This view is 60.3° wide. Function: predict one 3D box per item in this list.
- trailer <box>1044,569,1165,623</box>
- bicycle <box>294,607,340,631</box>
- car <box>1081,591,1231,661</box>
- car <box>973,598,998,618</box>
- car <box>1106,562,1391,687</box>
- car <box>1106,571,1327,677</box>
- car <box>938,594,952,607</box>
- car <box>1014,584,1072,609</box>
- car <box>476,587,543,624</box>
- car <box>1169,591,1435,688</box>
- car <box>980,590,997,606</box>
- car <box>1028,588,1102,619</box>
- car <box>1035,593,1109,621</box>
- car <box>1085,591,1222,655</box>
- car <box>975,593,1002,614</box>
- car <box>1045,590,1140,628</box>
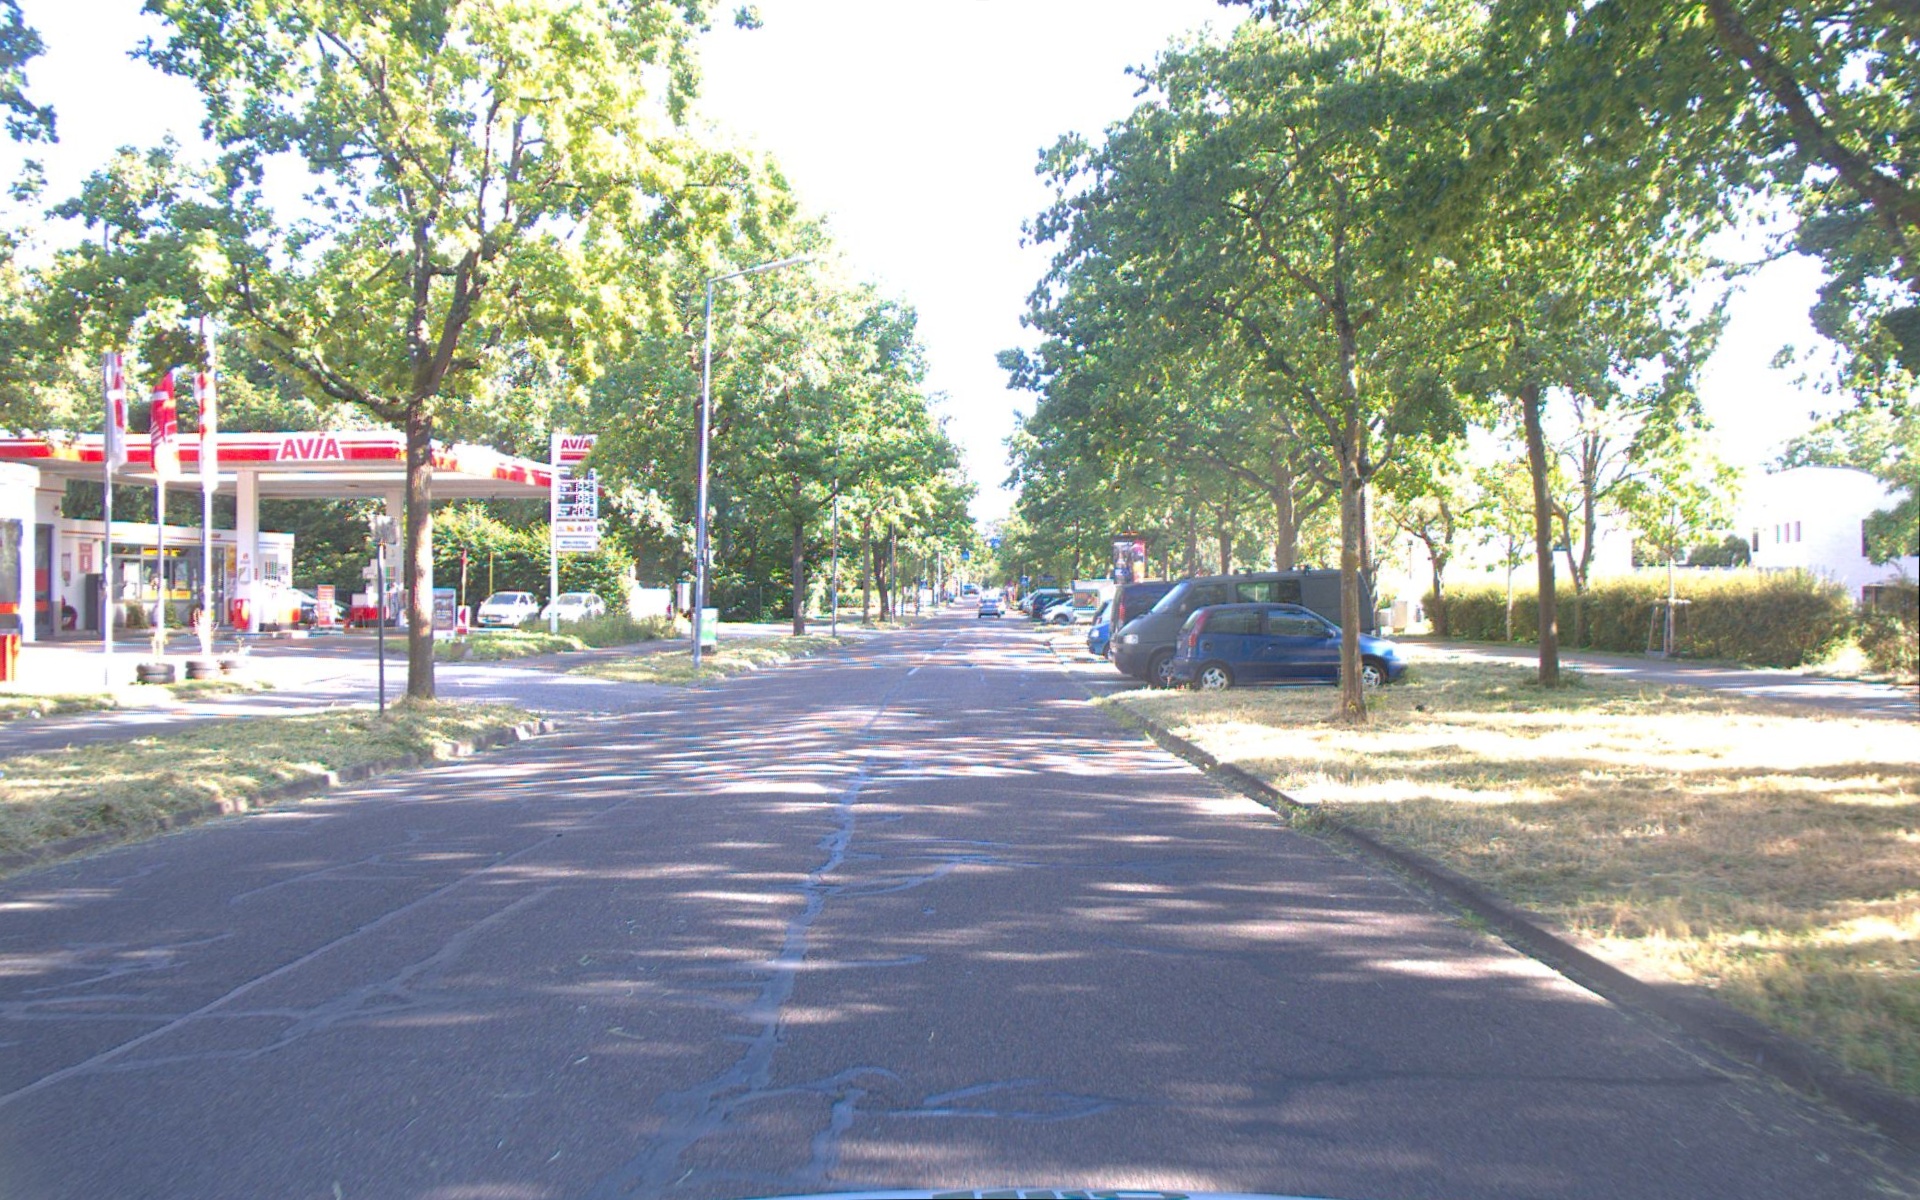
[{"bbox_3d":[6.883,-0.189,79.075,5.654,2.358,1.687,-2,0,3],"label":"trailer"},{"bbox_3d":[-23.388,0.682,60.173,0.604,0.821,1.781,0,0,16],"label":"bicycle"},{"bbox_3d":[4.674,0.617,39.829,3.447,1.559,1.665,-2,0,3],"label":"car"},{"bbox_3d":[2.178,0.681,141.566,1.953,1.684,3.998,0,0,-2],"label":"car"},{"bbox_3d":[5.025,0.416,29.308,4.704,2.067,1.944,-1,0,0],"label":"car"},{"bbox_3d":[4.882,0.445,31.857,3.928,1.869,1.799,-2,0,-2],"label":"car"},{"bbox_3d":[-2.089,0.016,231.899,1.952,1.746,4.000,1,0,1],"label":"car"},{"bbox_3d":[7.486,-0.295,148.826,5.081,2.142,2.082,0,0,-1],"label":"car"},{"bbox_3d":[-18.285,0.215,67.239,1.392,1.391,3.208,2,0,9],"label":"car"},{"bbox_3d":[5.402,0.612,26.476,3.906,1.428,1.740,-1,0,0],"label":"car"},{"bbox_3d":[3.515,-0.266,204.699,1.952,1.967,4.000,1,0,1],"label":"car"},{"bbox_3d":[6.417,0.218,101.425,4.436,1.832,1.936,-1,0,1],"label":"car"},{"bbox_3d":[6.381,0.395,94.708,4.157,1.545,2.079,-1,0,2],"label":"car"},{"bbox_3d":[5.146,0.612,44.433,3.509,1.604,1.787,-2,0,3],"label":"car"},{"bbox_3d":[2.137,0.277,124.651,1.953,1.510,3.999,0,0,0],"label":"car"},{"bbox_3d":[6.516,0.438,81.852,4.545,1.752,1.988,-2,0,2],"label":"car"}]
